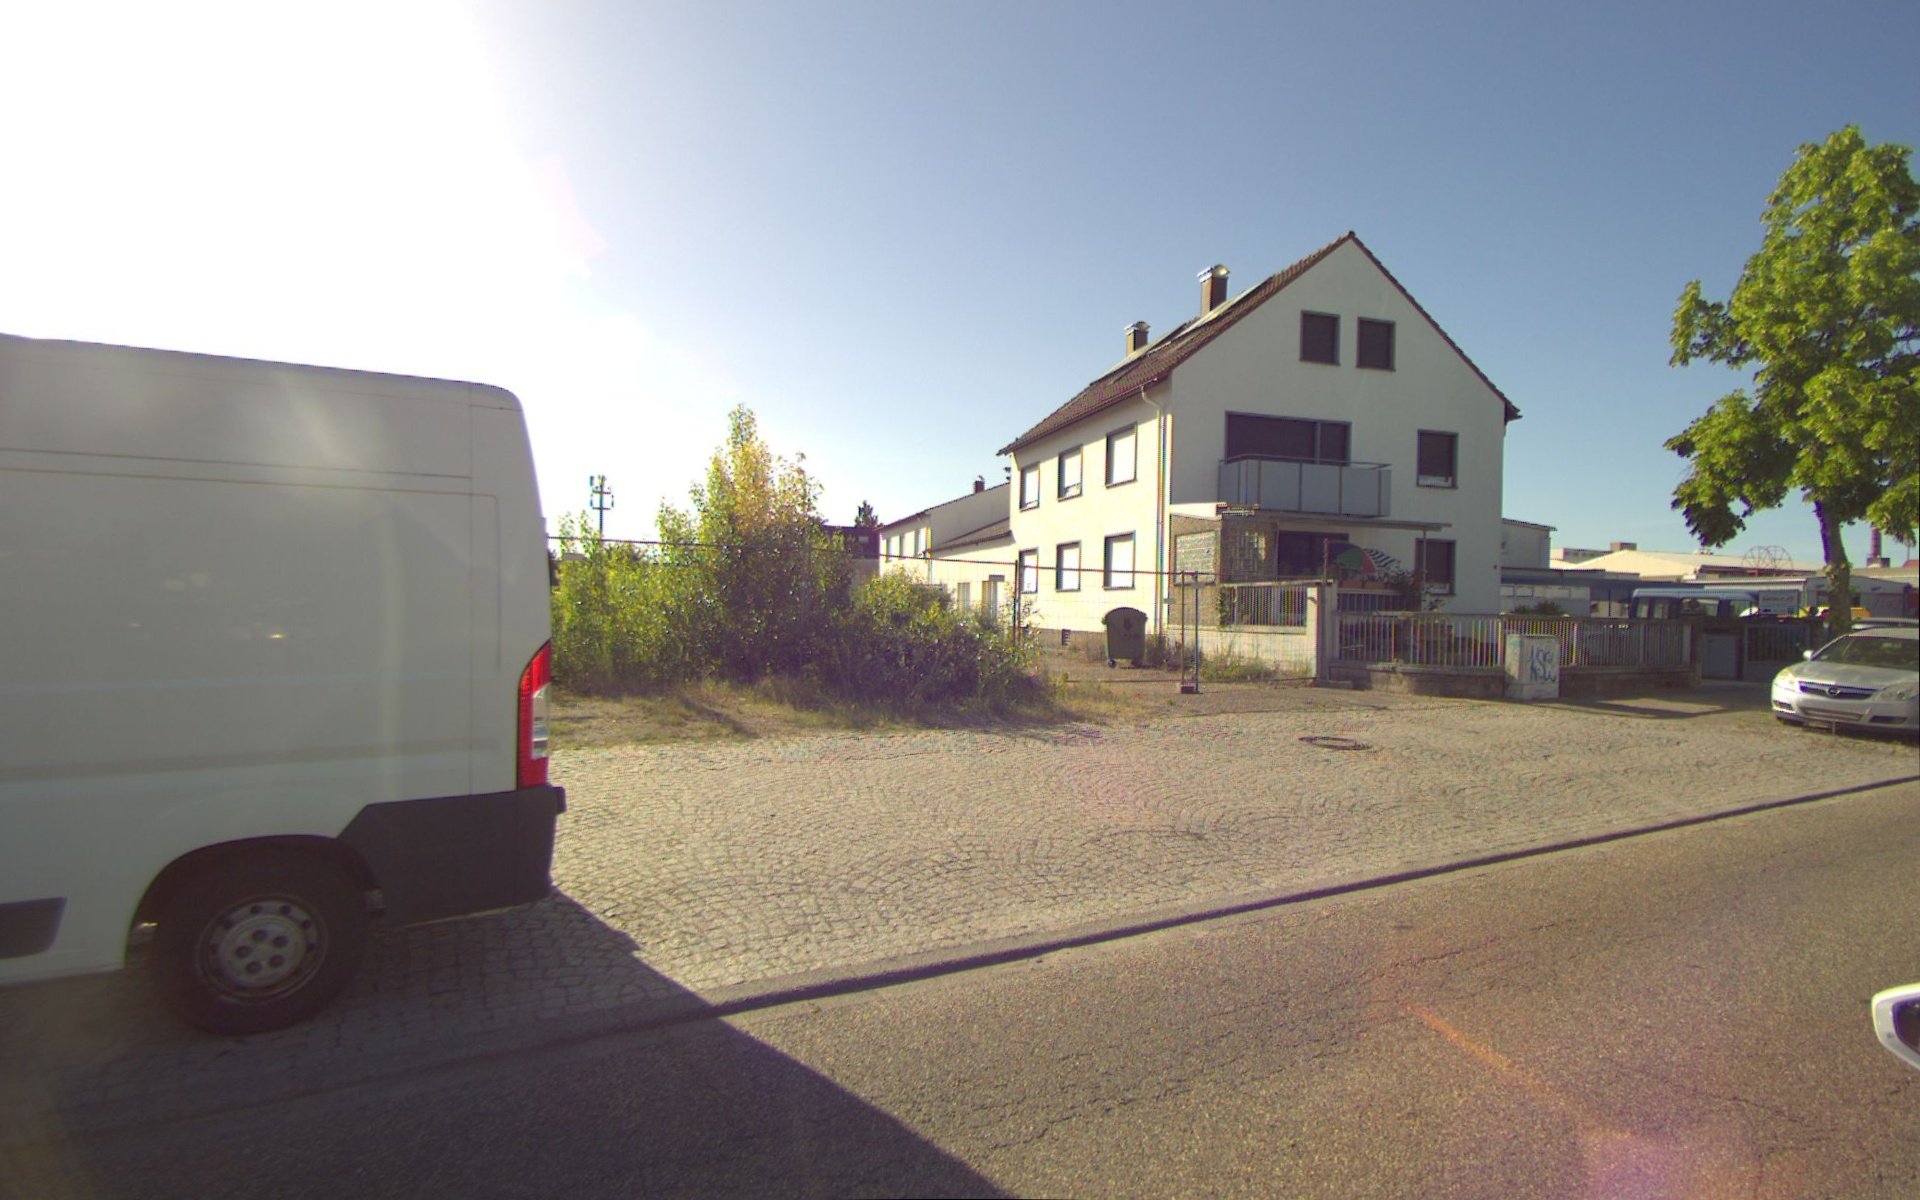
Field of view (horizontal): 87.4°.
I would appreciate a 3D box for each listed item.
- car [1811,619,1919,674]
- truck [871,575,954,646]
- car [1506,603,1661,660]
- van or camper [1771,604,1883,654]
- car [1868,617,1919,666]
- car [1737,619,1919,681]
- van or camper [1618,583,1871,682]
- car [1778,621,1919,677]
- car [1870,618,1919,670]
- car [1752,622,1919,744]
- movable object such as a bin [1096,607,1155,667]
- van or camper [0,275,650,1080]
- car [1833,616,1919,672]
[{"bbox_3d":[29.866,1.474,31.718,1.745,1.607,4.227,1,0,-31],"label":"car"},{"bbox_3d":[-2.013,0.403,40.245,2.145,2.551,6.577,1,0,-13],"label":"truck"},{"bbox_3d":[19.201,0.949,31.143,1.652,1.600,3.981,3,-1,-17],"label":"car"},{"bbox_3d":[50.137,1.670,58.089,6.174,2.751,2.162,2,0,-20],"label":"van or camper"},{"bbox_3d":[35.333,1.505,35.687,1.741,1.751,4.237,2,-1,-24],"label":"car"},{"bbox_3d":[25.663,1.398,29.432,1.741,1.562,4.237,2,0,-24],"label":"car"},{"bbox_3d":[20.705,0.798,26.831,2.208,2.351,4.890,2,0,-17],"label":"van or camper"},{"bbox_3d":[27.995,1.466,30.767,1.742,1.562,4.236,0,0,-25],"label":"car"},{"bbox_3d":[33.839,1.539,33.968,1.741,1.751,4.237,2,-1,-24],"label":"car"},{"bbox_3d":[13.532,1.125,14.579,4.157,1.454,1.679,1,2,-29],"label":"car"},{"bbox_3d":[3.944,0.885,23.975,1.236,1.409,0.636,1,0,-17],"label":"movable object such as a bin"},{"bbox_3d":[-4.194,0.180,3.628,5.492,2.523,2.111,1,3,-31],"label":"van or camper"},{"bbox_3d":[31.556,1.456,32.833,1.743,1.776,4.234,2,-1,-27],"label":"car"}]
